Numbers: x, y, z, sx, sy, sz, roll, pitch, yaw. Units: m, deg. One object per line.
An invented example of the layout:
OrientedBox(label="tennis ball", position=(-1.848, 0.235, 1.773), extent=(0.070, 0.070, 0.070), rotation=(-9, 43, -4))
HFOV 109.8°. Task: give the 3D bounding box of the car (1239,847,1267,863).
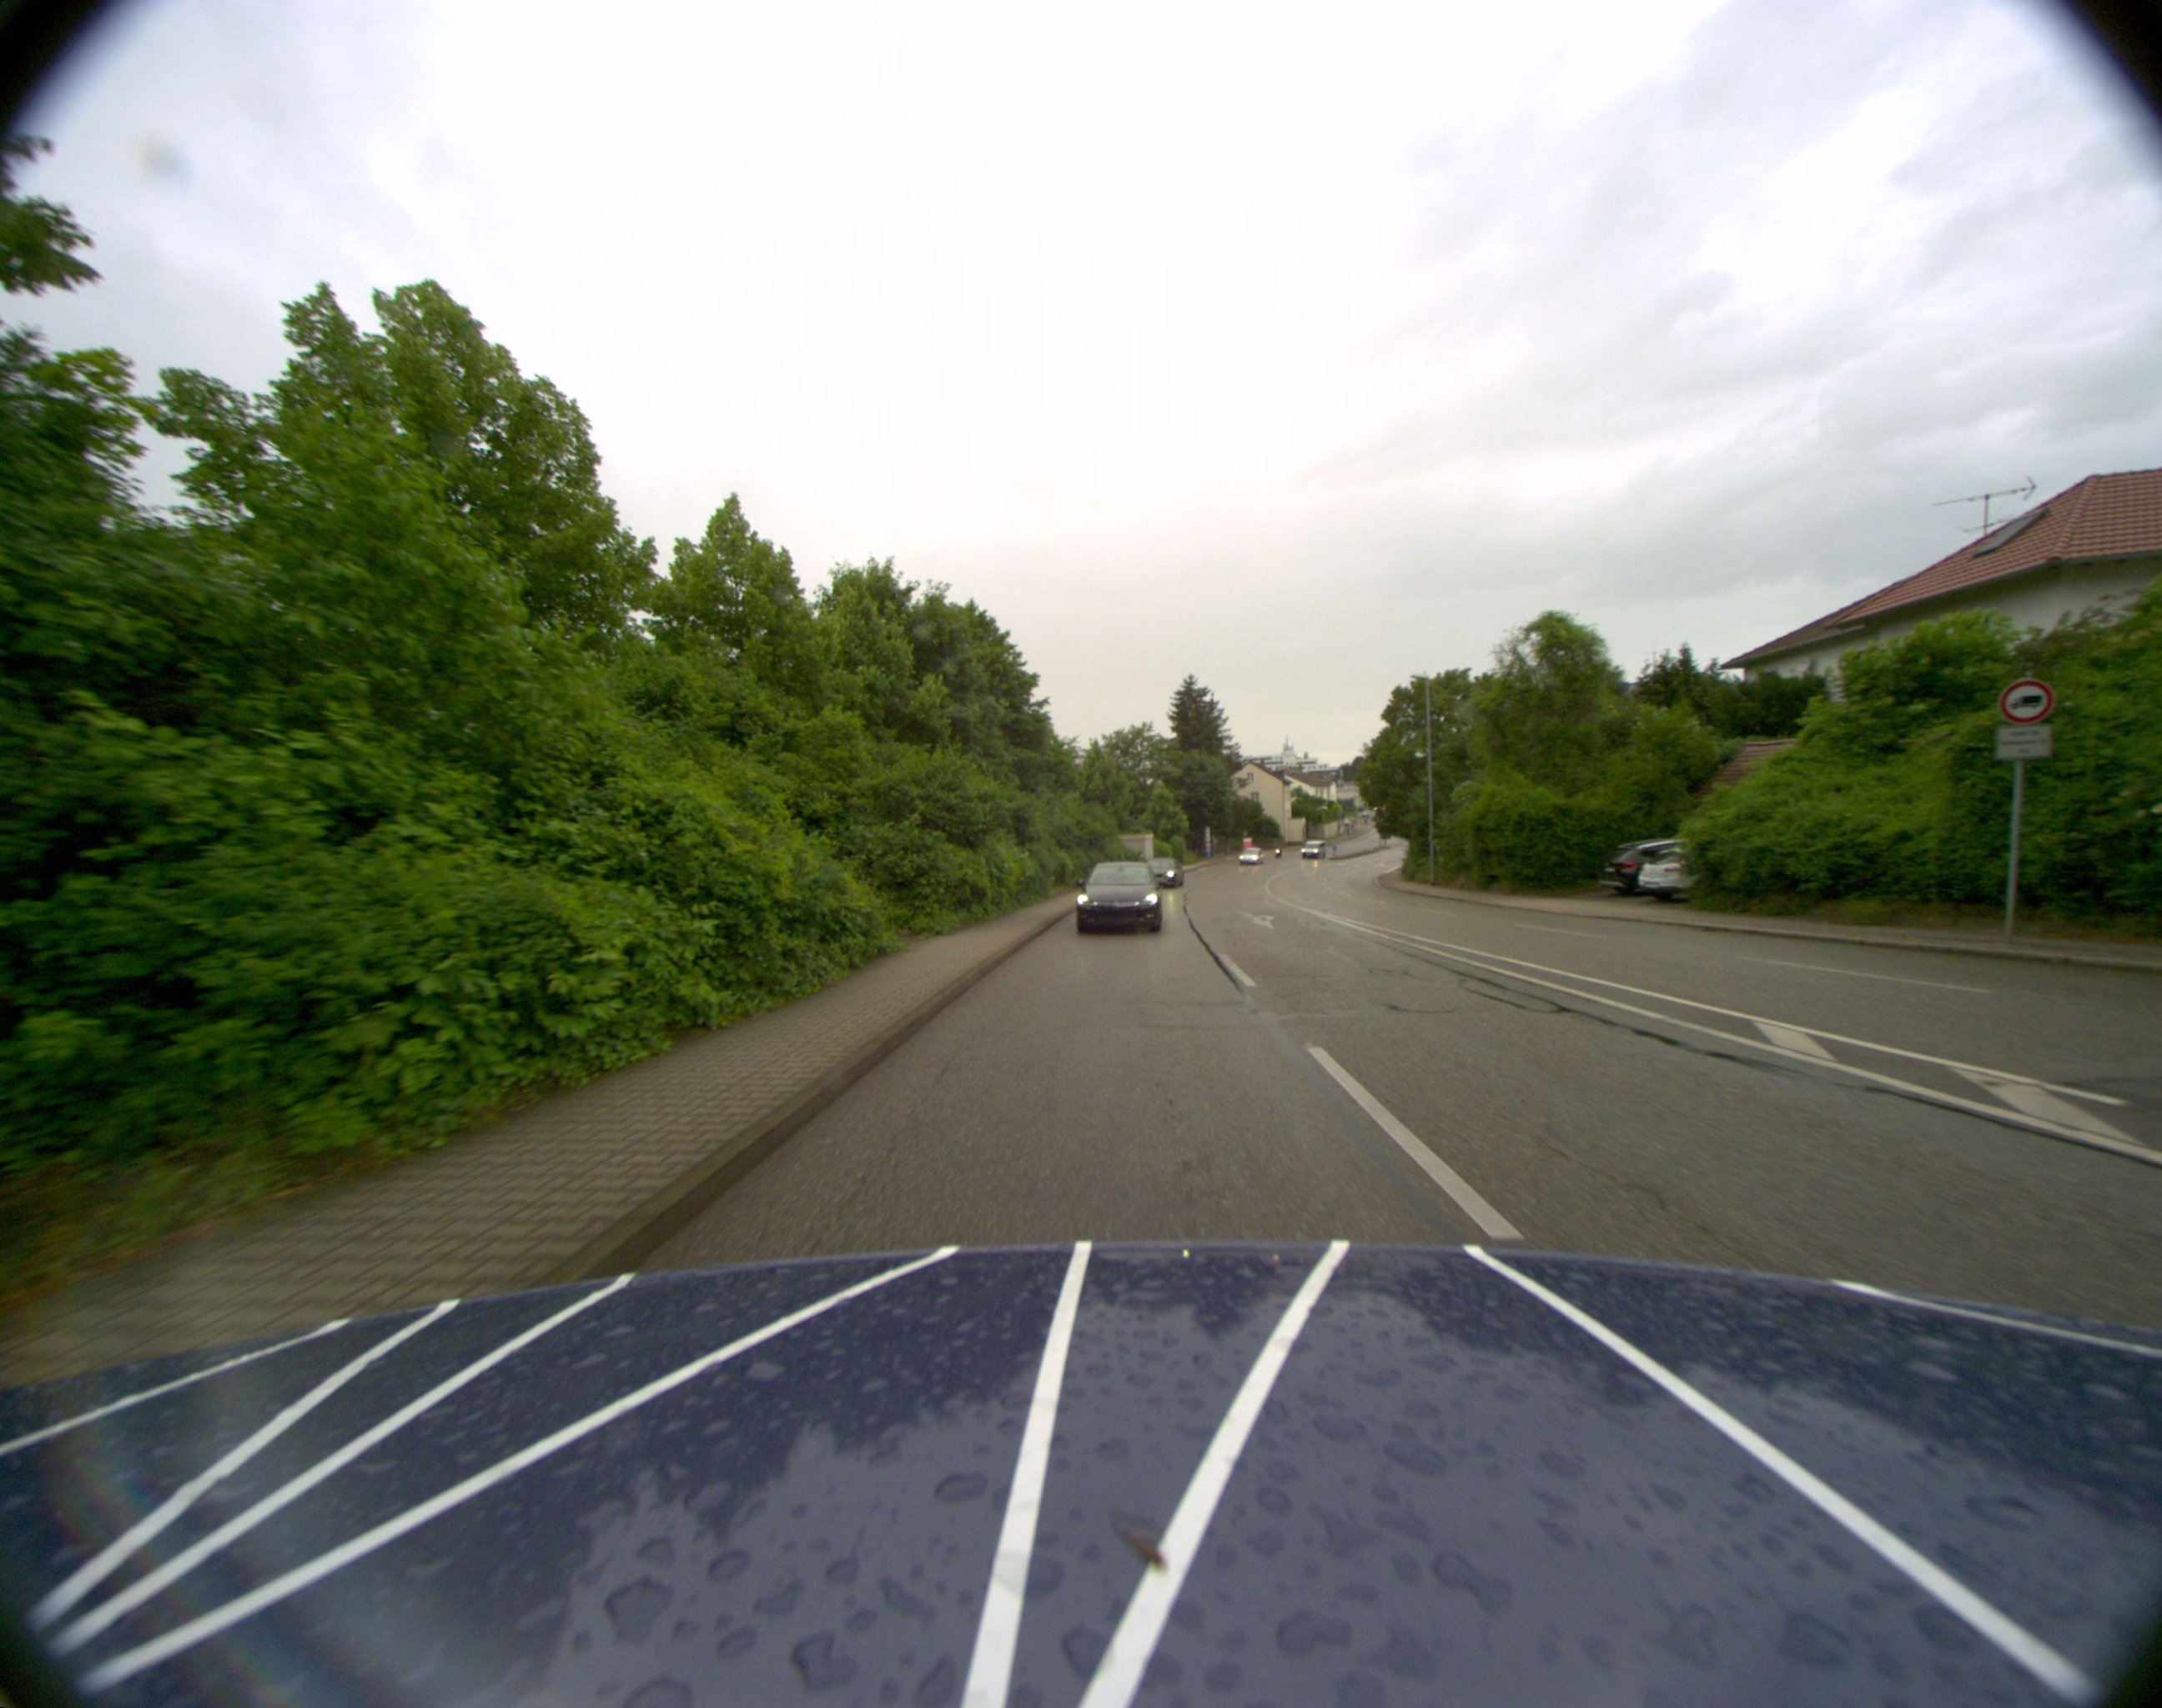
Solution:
OrientedBox(label="car", position=(16.658, 0.098, 73.376), extent=(1.814, 1.430, 4.007), rotation=(1, 1, 25))

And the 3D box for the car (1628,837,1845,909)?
OrientedBox(label="car", position=(17.148, 0.493, 20.057), extent=(3.909, 1.432, 1.812), rotation=(-6, 0, 6))

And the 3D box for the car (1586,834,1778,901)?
OrientedBox(label="car", position=(17.918, 0.386, 22.845), extent=(3.996, 1.527, 2.001), rotation=(-6, 0, 5))

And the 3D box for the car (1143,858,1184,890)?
OrientedBox(label="car", position=(4.307, 0.978, 39.030), extent=(1.871, 1.497, 4.200), rotation=(-1, 0, 9))

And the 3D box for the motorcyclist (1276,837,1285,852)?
OrientedBox(label="motorcyclist", position=(22.187, -1.043, 84.438), extent=(0.765, 1.633, 0.675), rotation=(1, 2, 29))

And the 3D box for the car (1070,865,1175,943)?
OrientedBox(label="car", position=(1.060, 1.015, 17.135), extent=(1.815, 1.434, 4.165), rotation=(-1, 1, 10))

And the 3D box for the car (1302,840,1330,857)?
OrientedBox(label="car", position=(25.936, -0.583, 83.818), extent=(1.773, 1.765, 4.008), rotation=(2, 1, 36))

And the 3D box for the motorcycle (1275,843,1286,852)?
OrientedBox(label="motorcycle", position=(22.154, -0.717, 84.397), extent=(0.691, 1.047, 1.750), rotation=(1, 2, 29))
